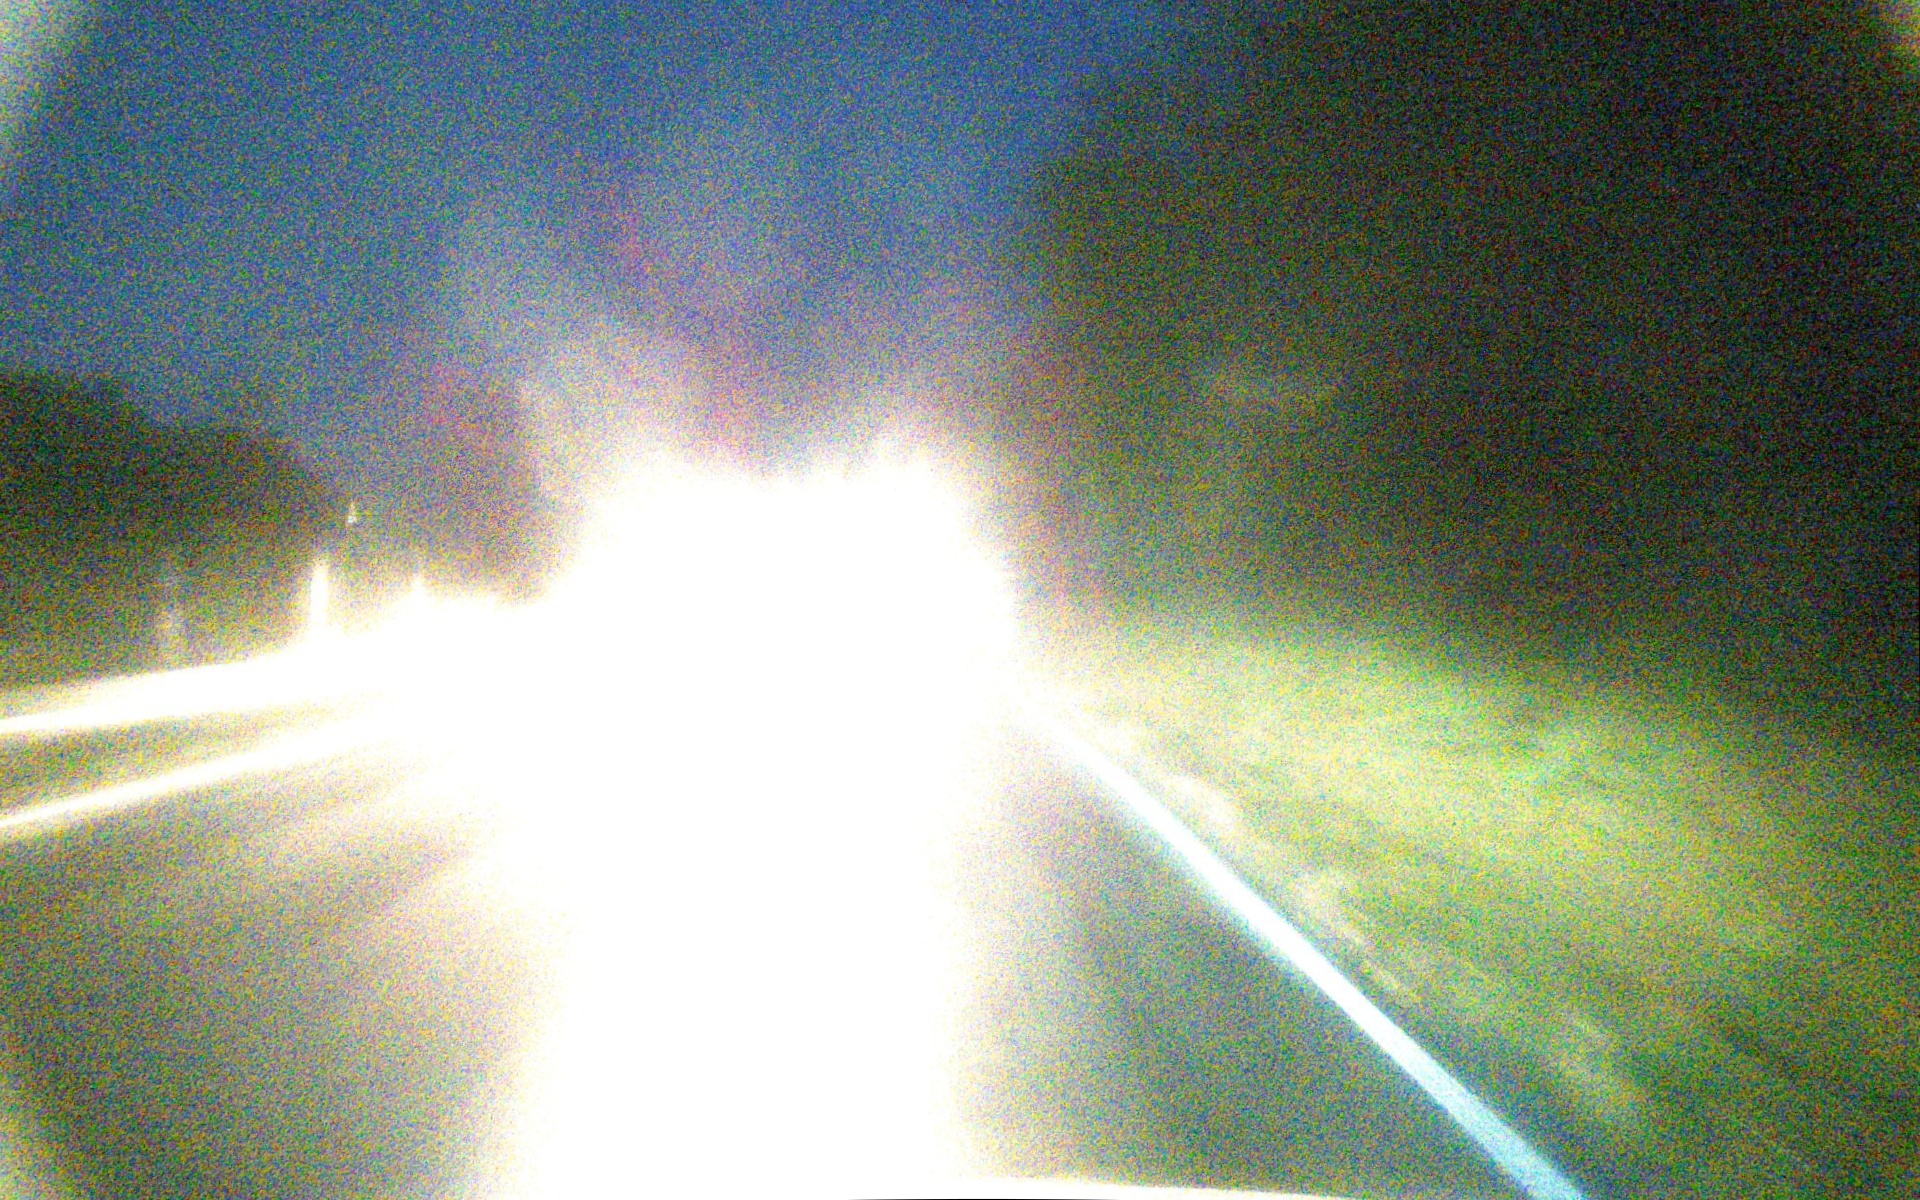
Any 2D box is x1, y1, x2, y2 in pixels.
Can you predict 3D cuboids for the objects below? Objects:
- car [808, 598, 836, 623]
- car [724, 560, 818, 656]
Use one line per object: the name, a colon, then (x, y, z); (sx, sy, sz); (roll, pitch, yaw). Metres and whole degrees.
car: (-9.690, 0.729, 116.434); (1.888, 1.602, 4.344); (1, 1, -3)
car: (-4.825, 0.165, 42.858); (1.953, 2.312, 5.465); (1, 1, -2)
